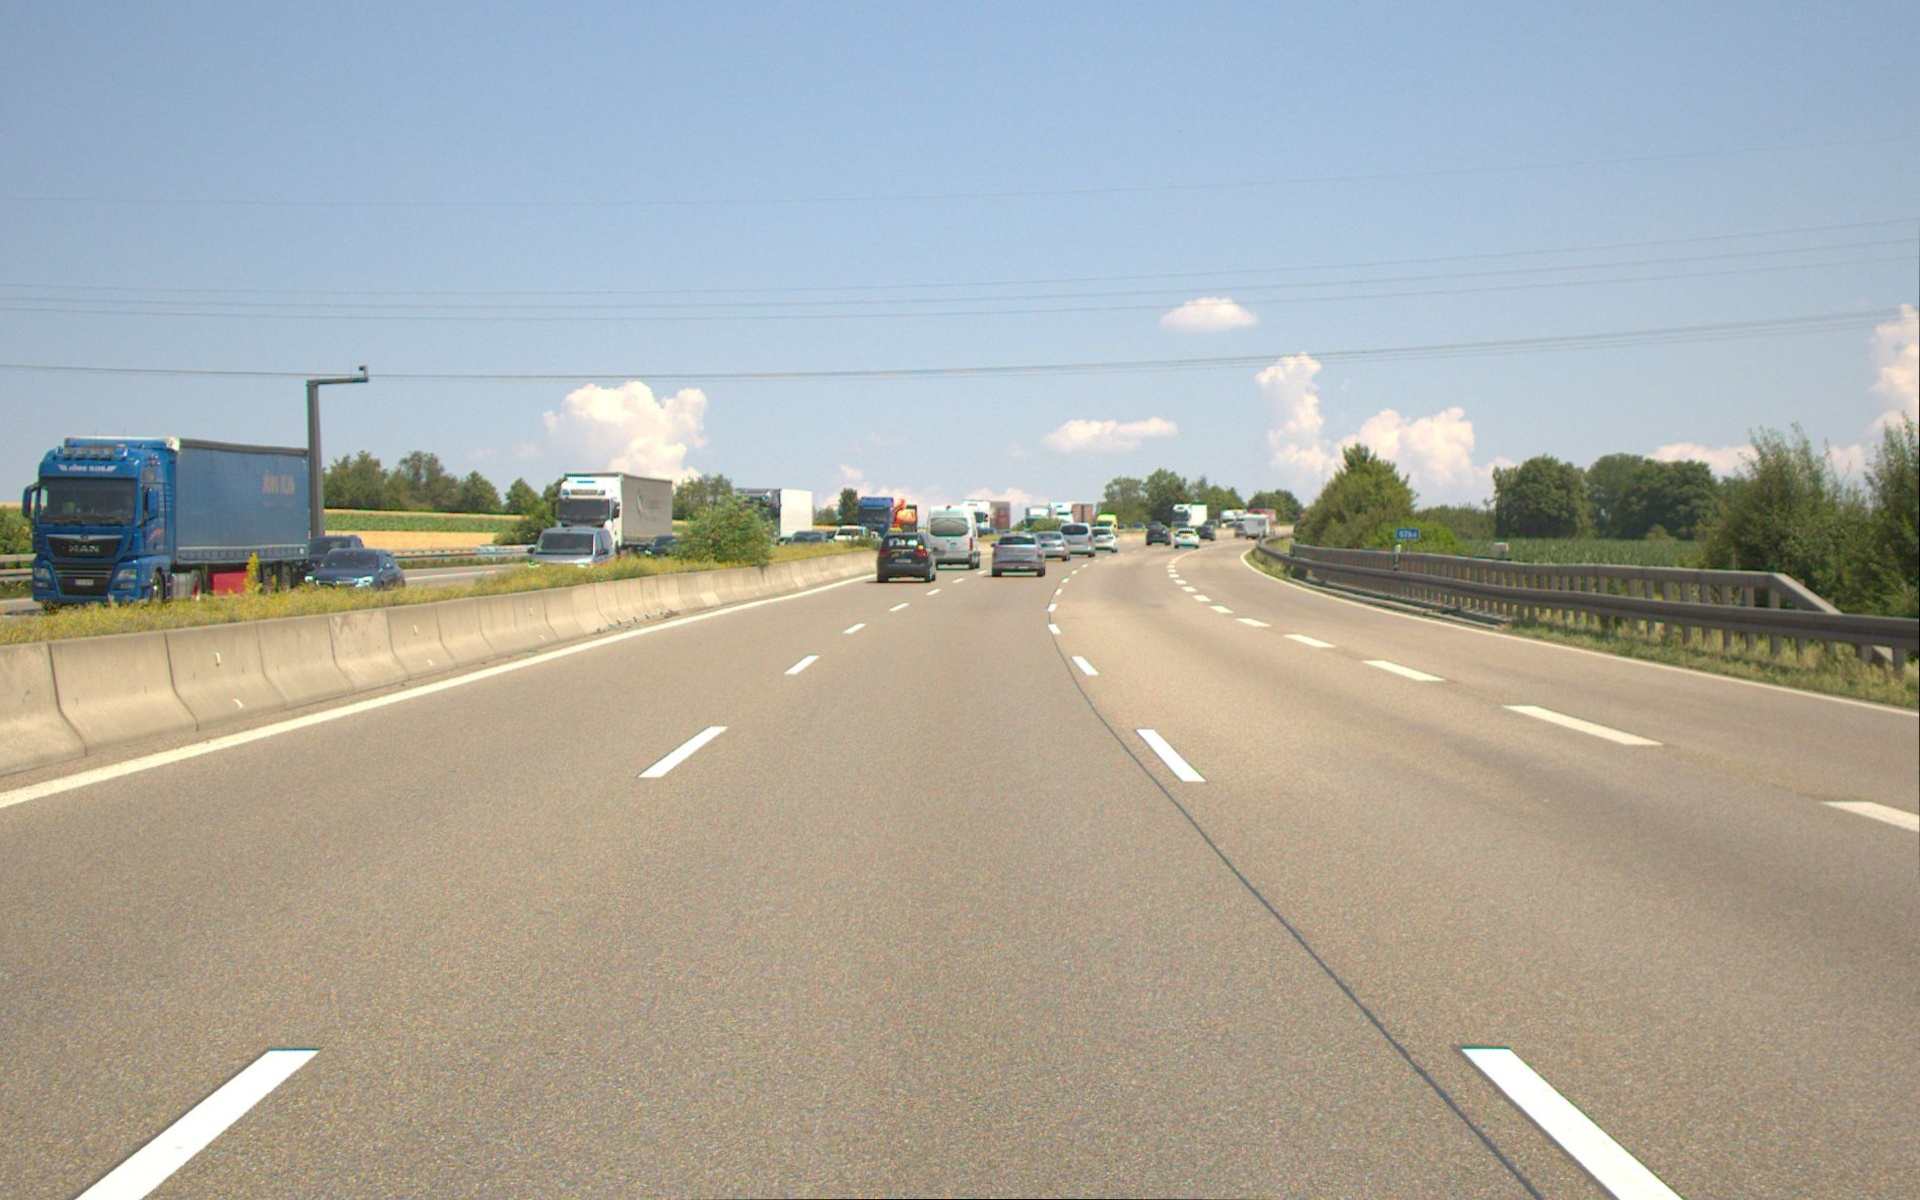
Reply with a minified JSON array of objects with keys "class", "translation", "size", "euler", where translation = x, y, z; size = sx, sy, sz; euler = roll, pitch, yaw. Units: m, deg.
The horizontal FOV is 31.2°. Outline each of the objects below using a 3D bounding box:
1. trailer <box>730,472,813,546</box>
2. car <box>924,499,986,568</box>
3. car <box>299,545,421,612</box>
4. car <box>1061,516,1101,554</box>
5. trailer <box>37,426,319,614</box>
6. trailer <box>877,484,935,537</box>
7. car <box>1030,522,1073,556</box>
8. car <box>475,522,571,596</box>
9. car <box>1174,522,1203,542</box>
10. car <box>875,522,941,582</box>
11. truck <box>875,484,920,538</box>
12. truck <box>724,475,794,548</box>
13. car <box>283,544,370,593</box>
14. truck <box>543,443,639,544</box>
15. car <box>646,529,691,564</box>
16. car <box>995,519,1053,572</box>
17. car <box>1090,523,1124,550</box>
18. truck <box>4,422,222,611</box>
[{"class":"trailer","translation":[-11.427,-5.527,210.252],"size":[3.242,4.372,14.026],"euler":[0,1,4]},{"class":"car","translation":[-0.185,-2.702,140.557],"size":[2.180,2.616,4.671],"euler":[0,-1,4]},{"class":"car","translation":[-14.428,-0.549,83.000],"size":[1.913,1.536,5.743],"euler":[0,1,0]},{"class":"car","translation":[6.514,-3.486,185.564],"size":[1.993,1.897,4.000],"euler":[0,-1,0]},{"class":"trailer","translation":[-18.895,-1.904,84.384],"size":[3.161,4.179,14.380],"euler":[1,1,2]},{"class":"trailer","translation":[-4.078,-6.766,262.571],"size":[2.839,3.944,13.725],"euler":[0,1,6]},{"class":"car","translation":[4.446,-2.960,167.594],"size":[1.993,1.579,4.000],"euler":[-1,0,0]},{"class":"car","translation":[-12.013,-1.136,94.808],"size":[1.913,1.963,5.447],"euler":[0,1,0]},{"class":"car","translation":[16.577,-4.915,249.742],"size":[1.902,1.437,3.999],"euler":[0,1,7]},{"class":"car","translation":[-1.676,-1.596,112.132],"size":[1.847,1.854,4.205],"euler":[0,2,3]},{"class":"truck","translation":[-4.646,-6.628,256.271],"size":[2.776,3.924,6.137],"euler":[0,1,5]},{"class":"truck","translation":[-11.865,-5.233,203.453],"size":[3.227,4.192,7.125],"euler":[0,1,4]},{"class":"car","translation":[-18.798,-0.957,102.098],"size":[1.657,1.380,4.350],"euler":[0,1,2]},{"class":"truck","translation":[-16.112,-4.602,150.356],"size":[3.132,4.313,6.146],"euler":[0,1,4]},{"class":"car","translation":[-12.209,-2.253,143.958],"size":[1.624,1.399,3.731],"euler":[0,1,-1]},{"class":"car","translation":[2.314,-1.939,123.353],"size":[1.993,1.744,3.999],"euler":[0,-1,2]},{"class":"car","translation":[9.302,-4.018,217.001],"size":[1.994,1.546,4.000],"euler":[1,2,4]},{"class":"truck","translation":[-19.102,-1.872,77.977],"size":[3.076,4.076,6.935],"euler":[0,1,1]}]
